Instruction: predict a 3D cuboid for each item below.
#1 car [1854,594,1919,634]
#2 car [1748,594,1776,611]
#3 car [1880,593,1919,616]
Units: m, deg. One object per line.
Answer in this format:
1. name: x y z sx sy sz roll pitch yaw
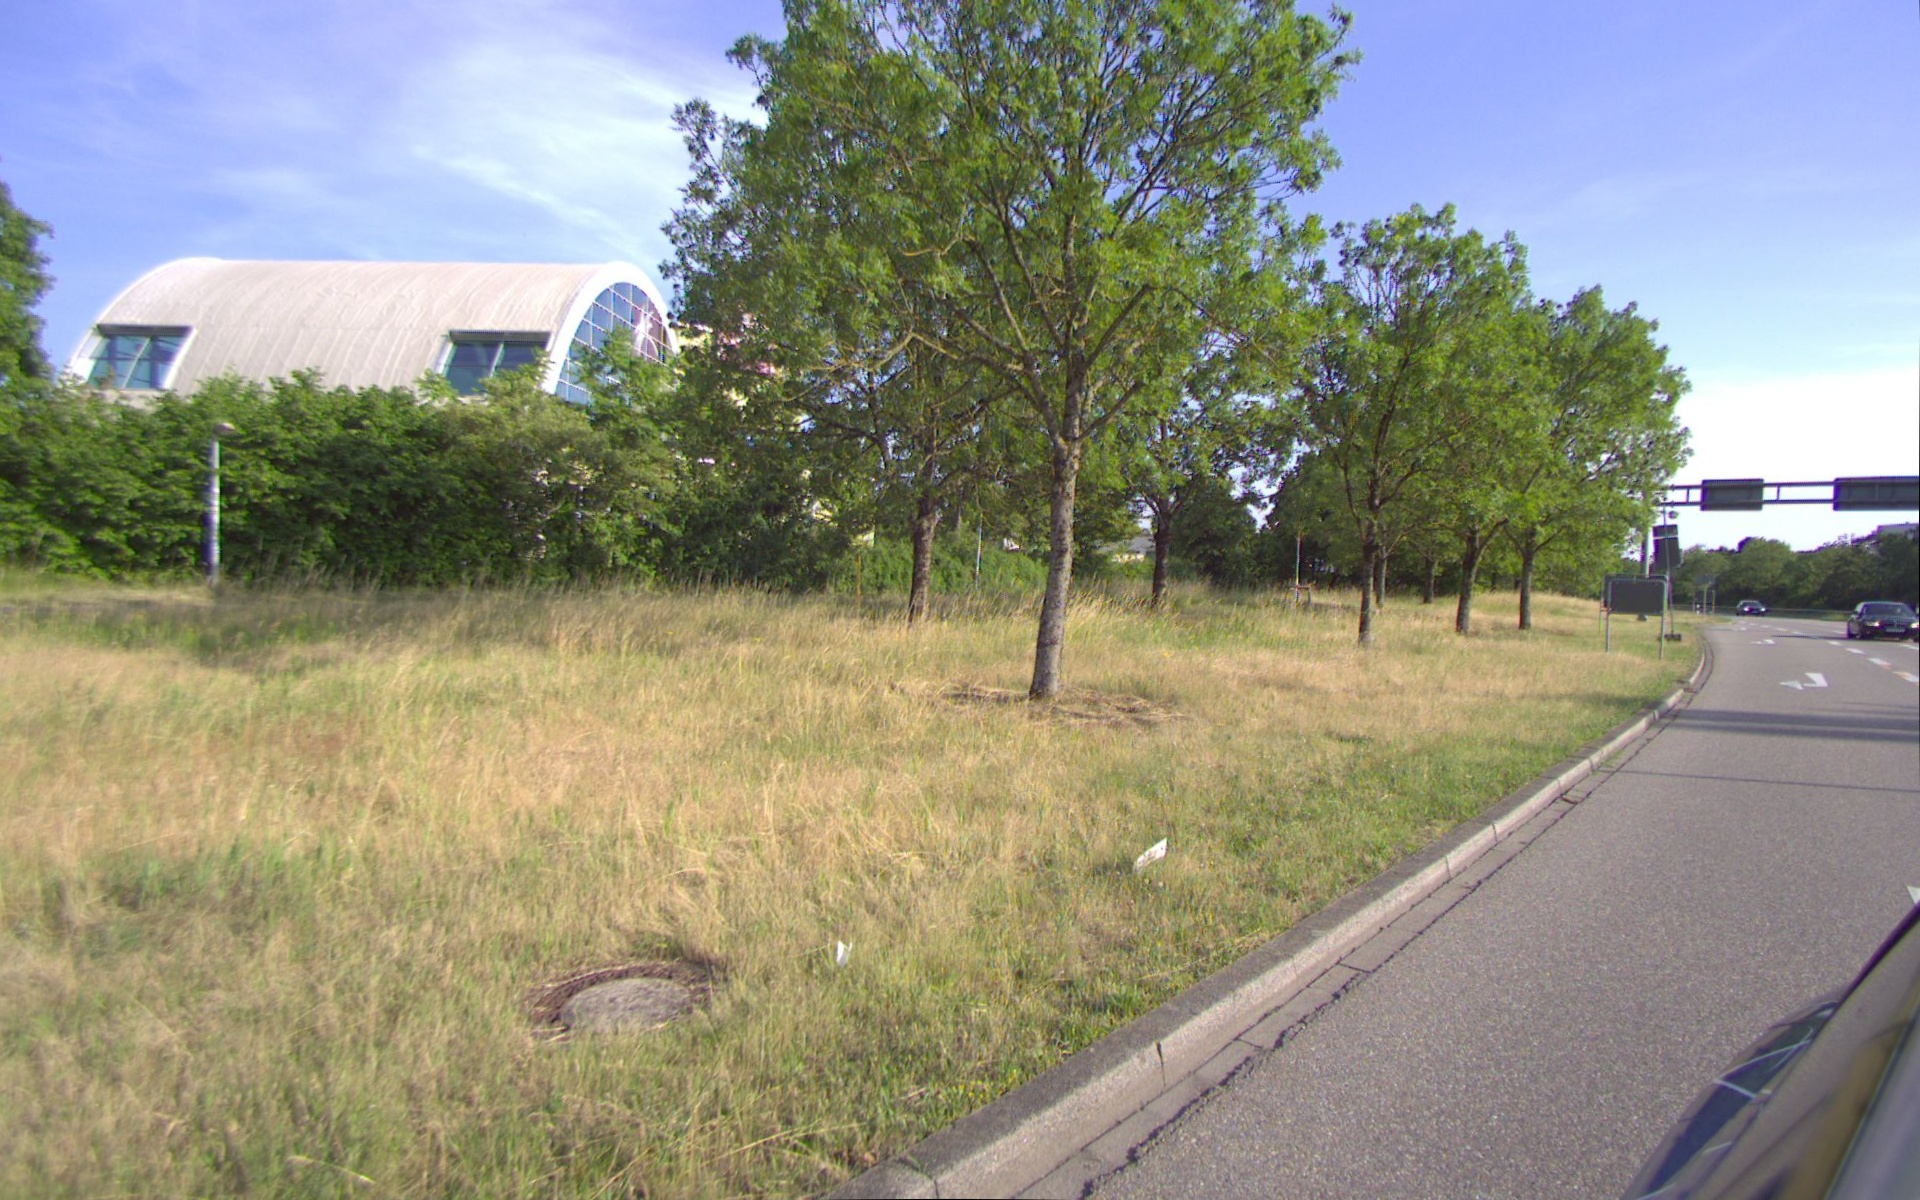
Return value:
1. car: 34.453 0.487 37.175 1.890 1.403 4.301 1 1 35
2. car: 74.398 0.200 93.941 1.886 1.474 3.857 4 3 37
3. car: 89.144 0.422 95.515 1.982 2.038 5.307 3 2 27
